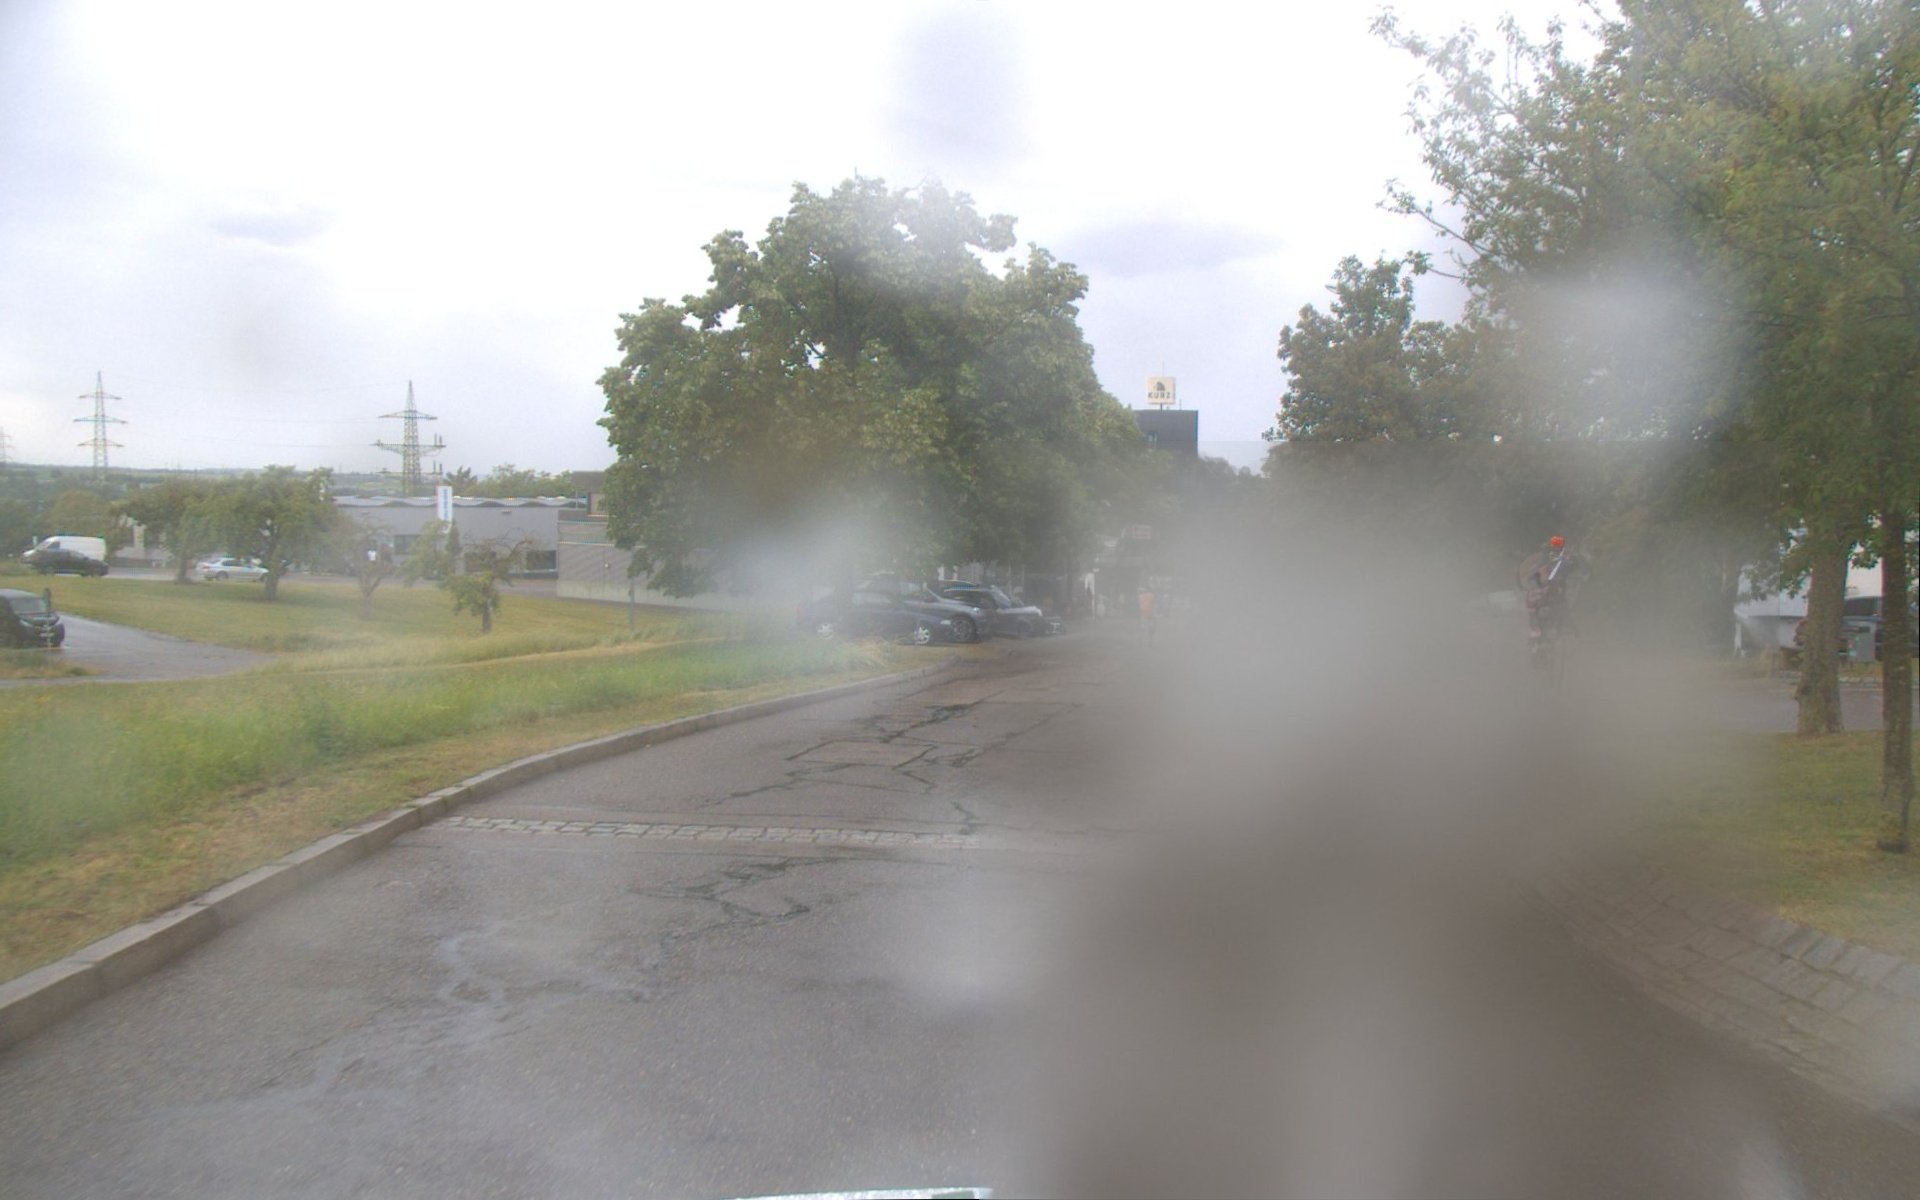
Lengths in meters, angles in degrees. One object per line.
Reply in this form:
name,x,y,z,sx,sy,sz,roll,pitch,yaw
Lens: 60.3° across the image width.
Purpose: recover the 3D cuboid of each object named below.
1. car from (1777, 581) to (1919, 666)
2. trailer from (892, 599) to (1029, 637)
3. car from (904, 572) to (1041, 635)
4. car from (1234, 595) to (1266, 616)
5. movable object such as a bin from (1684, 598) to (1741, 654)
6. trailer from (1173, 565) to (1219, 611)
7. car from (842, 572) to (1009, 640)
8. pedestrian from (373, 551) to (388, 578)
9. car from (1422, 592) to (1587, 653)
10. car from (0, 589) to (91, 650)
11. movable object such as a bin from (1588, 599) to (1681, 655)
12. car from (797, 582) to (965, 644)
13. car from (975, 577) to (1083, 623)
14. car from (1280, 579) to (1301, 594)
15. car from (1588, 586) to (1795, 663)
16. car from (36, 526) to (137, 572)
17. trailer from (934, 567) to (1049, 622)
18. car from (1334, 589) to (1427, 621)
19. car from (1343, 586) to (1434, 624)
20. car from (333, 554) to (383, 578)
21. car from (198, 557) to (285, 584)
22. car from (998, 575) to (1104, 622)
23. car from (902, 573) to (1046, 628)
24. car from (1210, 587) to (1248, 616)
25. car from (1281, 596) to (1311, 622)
car,20.328,0.509,35.601,1.829,1.613,4.792,1,-5,-25
trailer,0.034,0.546,50.722,3.857,0.978,2.002,2,1,11
car,0.418,0.111,53.376,3.988,1.751,2.027,3,0,14
car,22.052,0.395,125.724,1.914,1.486,5.251,1,0,15
movable object such as a bin,20.983,0.723,46.166,1.277,1.522,1.030,-1,0,15
trailer,22.075,-1.150,154.996,1.984,4.276,4.133,0,0,-36
car,-0.904,0.150,45.389,4.274,1.752,2.046,1,0,9
pedestrian,-44.148,-2.730,126.046,0.636,2.049,0.845,2,0,44
car,15.264,0.627,46.584,4.220,1.612,1.860,1,0,12
car,-35.216,0.725,62.977,4.411,2.259,1.924,-1,0,35
movable object such as a bin,18.947,0.740,46.544,2.218,1.530,1.734,-1,0,15
car,-2.012,0.331,42.890,4.124,1.456,1.775,2,0,5
car,2.786,0.005,66.269,4.106,1.752,1.757,1,0,9
car,46.980,-1.897,235.104,2.218,2.049,3.999,1,0,0
car,16.409,0.606,37.349,1.825,1.612,4.300,1,-2,-20
car,-69.832,-4.042,132.324,2.497,3.485,6.695,-1,0,40
trailer,1.222,-0.199,63.759,4.122,2.019,1.775,1,0,13
car,21.304,0.250,83.869,4.499,1.565,2.081,-1,0,15
car,20.976,0.235,81.029,4.248,1.804,2.091,1,0,14
car,-44.827,-2.534,123.106,3.928,1.646,1.801,2,1,41
car,-46.219,-1.868,106.463,2.248,1.677,4.596,-1,0,40
car,3.926,-0.075,71.272,4.210,1.939,1.863,1,0,18
car,0.499,0.015,55.955,4.520,1.617,1.807,3,0,13
car,18.170,0.100,111.595,1.875,1.863,4.851,1,0,16
car,22.420,0.614,110.367,1.914,1.705,4.476,1,-1,11
